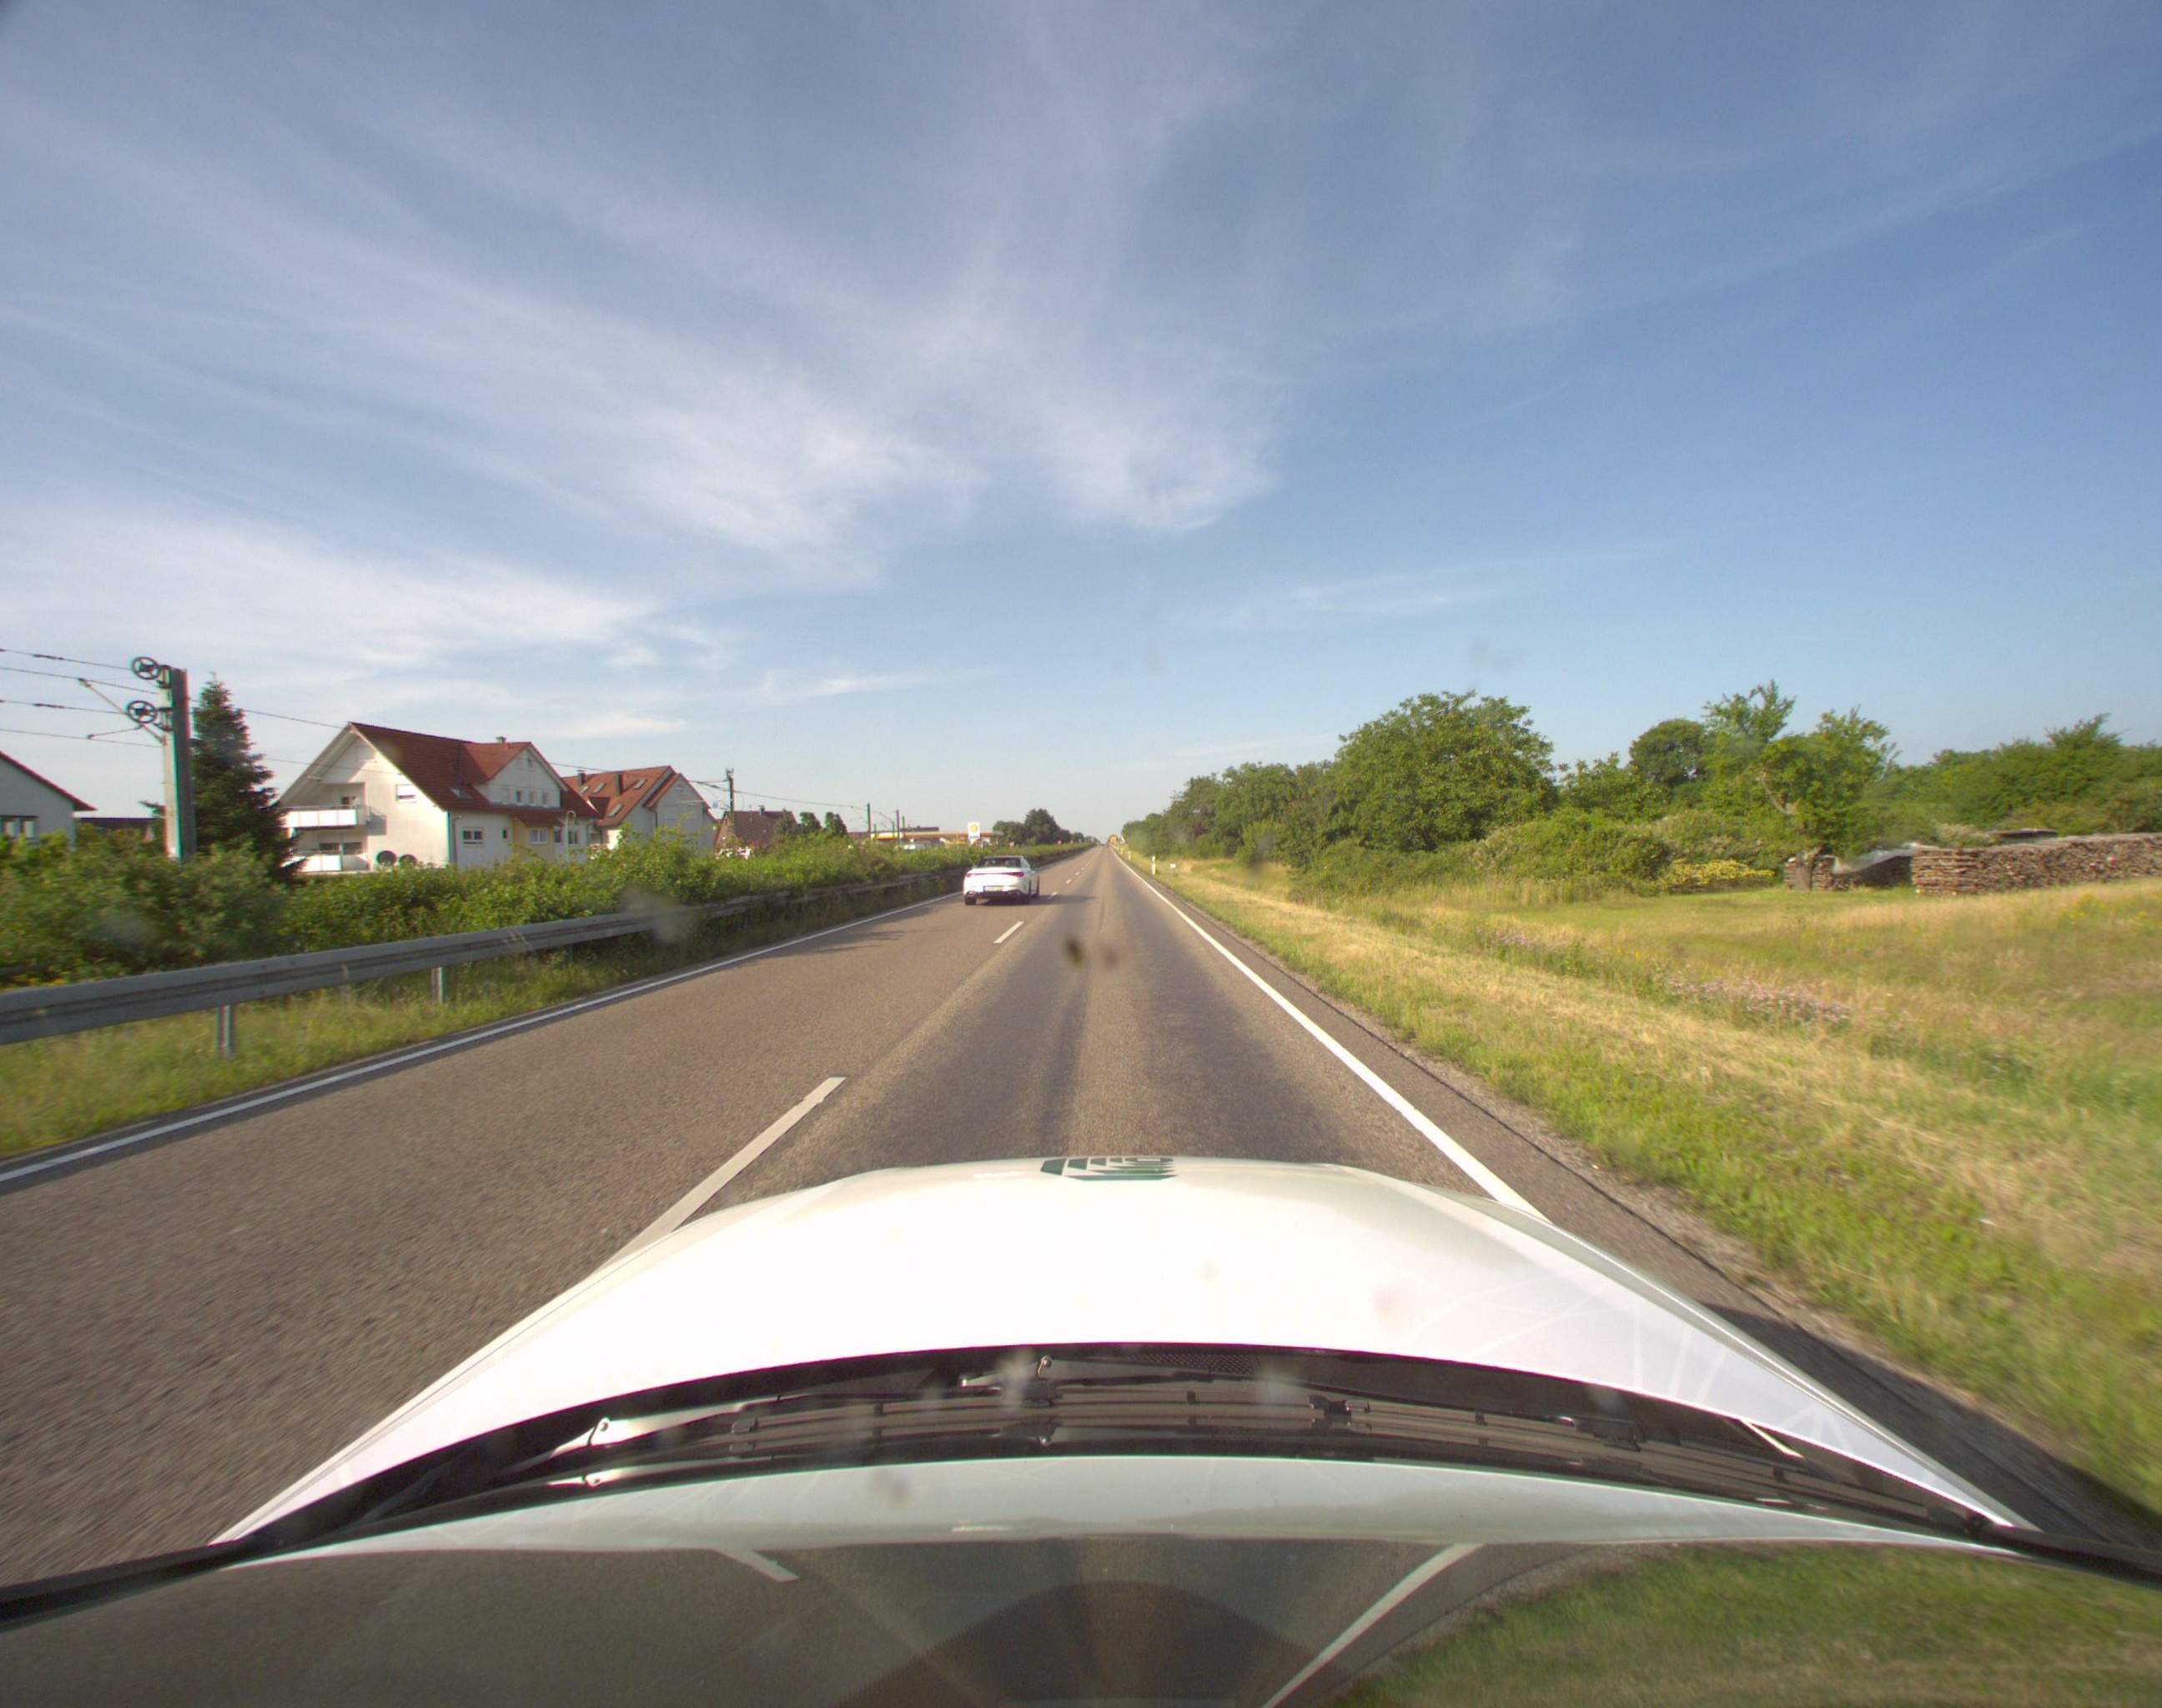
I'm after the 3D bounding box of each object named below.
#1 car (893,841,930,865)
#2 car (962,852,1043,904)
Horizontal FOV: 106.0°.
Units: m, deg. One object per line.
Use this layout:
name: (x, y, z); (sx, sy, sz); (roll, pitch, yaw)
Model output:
car: (-14.364, -0.109, 69.165); (1.986, 2.013, 4.873); (0, 0, 1)
car: (-2.232, 0.640, 24.372); (1.764, 1.337, 4.953); (0, 0, 2)
